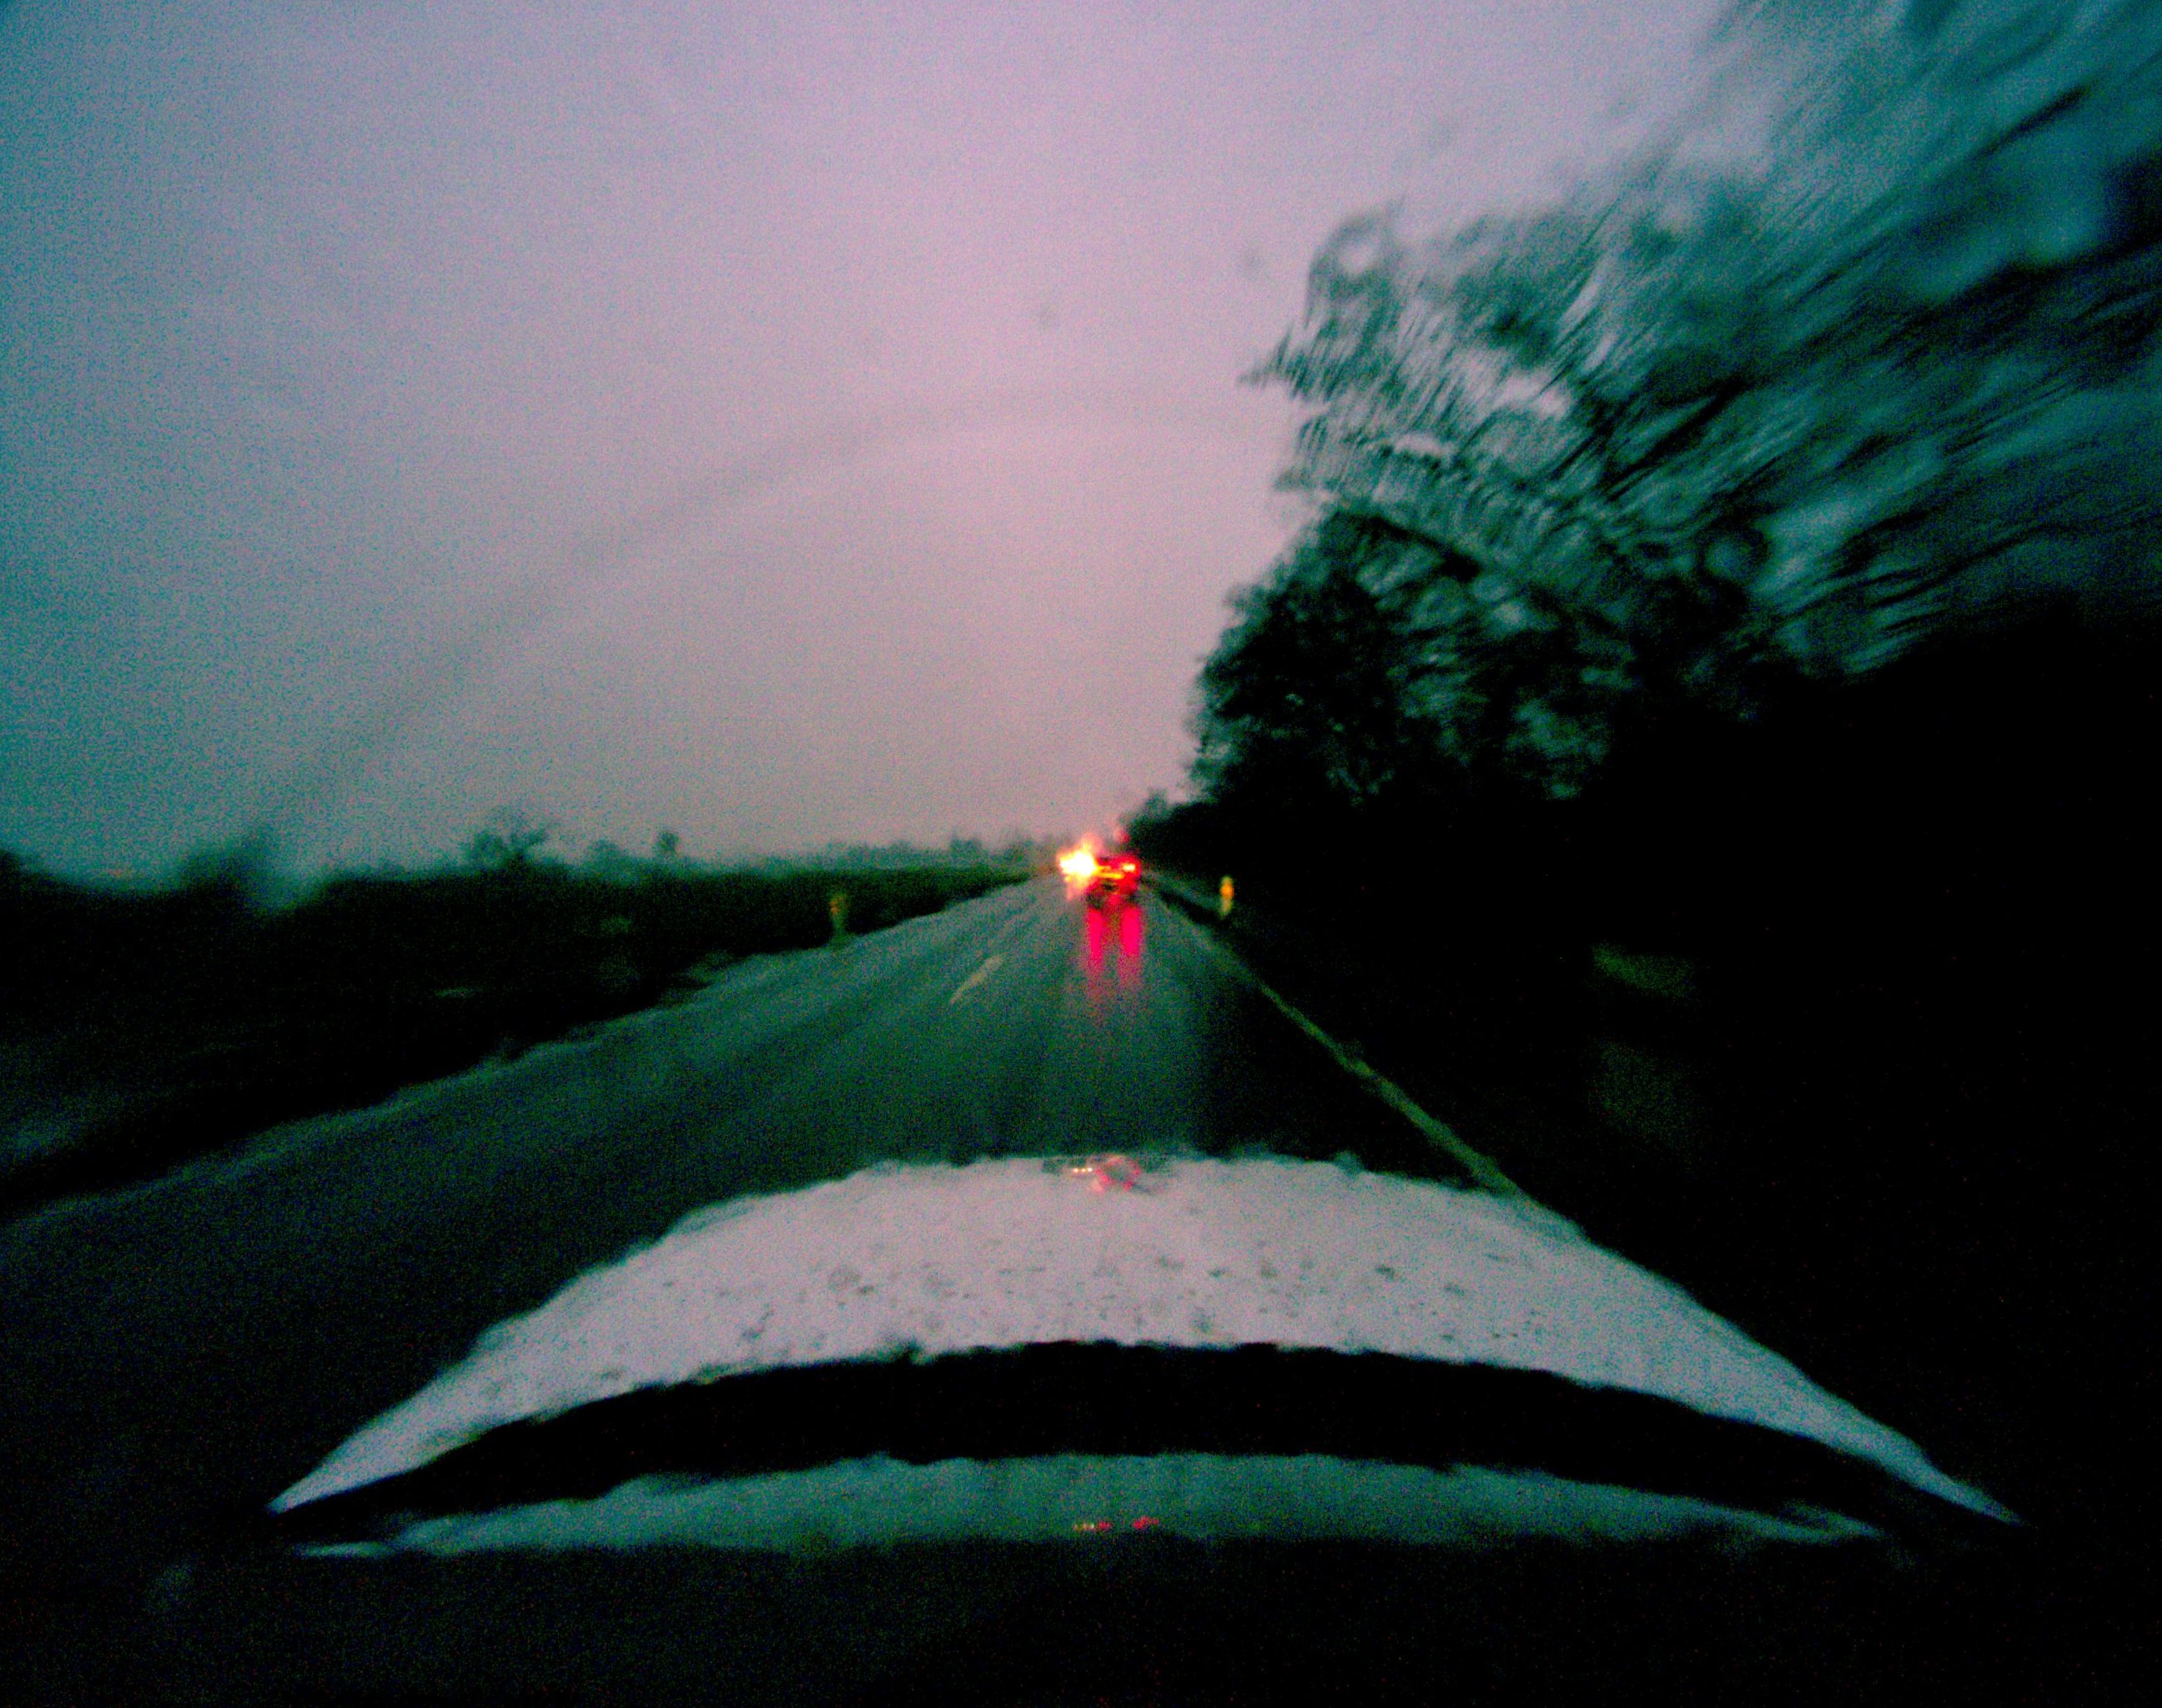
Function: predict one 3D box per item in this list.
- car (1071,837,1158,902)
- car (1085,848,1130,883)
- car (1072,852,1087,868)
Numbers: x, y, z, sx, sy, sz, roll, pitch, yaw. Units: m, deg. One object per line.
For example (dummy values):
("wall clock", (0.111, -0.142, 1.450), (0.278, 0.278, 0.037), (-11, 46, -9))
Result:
("car", (1.203, 0.521, 29.335), (2.809, 2.077, 5.807), (0, 0, 2))
("car", (1.677, 0.696, 50.092), (2.582, 2.014, 5.807), (0, 0, 2))
("car", (-0.243, 0.818, 113.048), (1.909, 2.137, 4.312), (-2, 0, 0))
